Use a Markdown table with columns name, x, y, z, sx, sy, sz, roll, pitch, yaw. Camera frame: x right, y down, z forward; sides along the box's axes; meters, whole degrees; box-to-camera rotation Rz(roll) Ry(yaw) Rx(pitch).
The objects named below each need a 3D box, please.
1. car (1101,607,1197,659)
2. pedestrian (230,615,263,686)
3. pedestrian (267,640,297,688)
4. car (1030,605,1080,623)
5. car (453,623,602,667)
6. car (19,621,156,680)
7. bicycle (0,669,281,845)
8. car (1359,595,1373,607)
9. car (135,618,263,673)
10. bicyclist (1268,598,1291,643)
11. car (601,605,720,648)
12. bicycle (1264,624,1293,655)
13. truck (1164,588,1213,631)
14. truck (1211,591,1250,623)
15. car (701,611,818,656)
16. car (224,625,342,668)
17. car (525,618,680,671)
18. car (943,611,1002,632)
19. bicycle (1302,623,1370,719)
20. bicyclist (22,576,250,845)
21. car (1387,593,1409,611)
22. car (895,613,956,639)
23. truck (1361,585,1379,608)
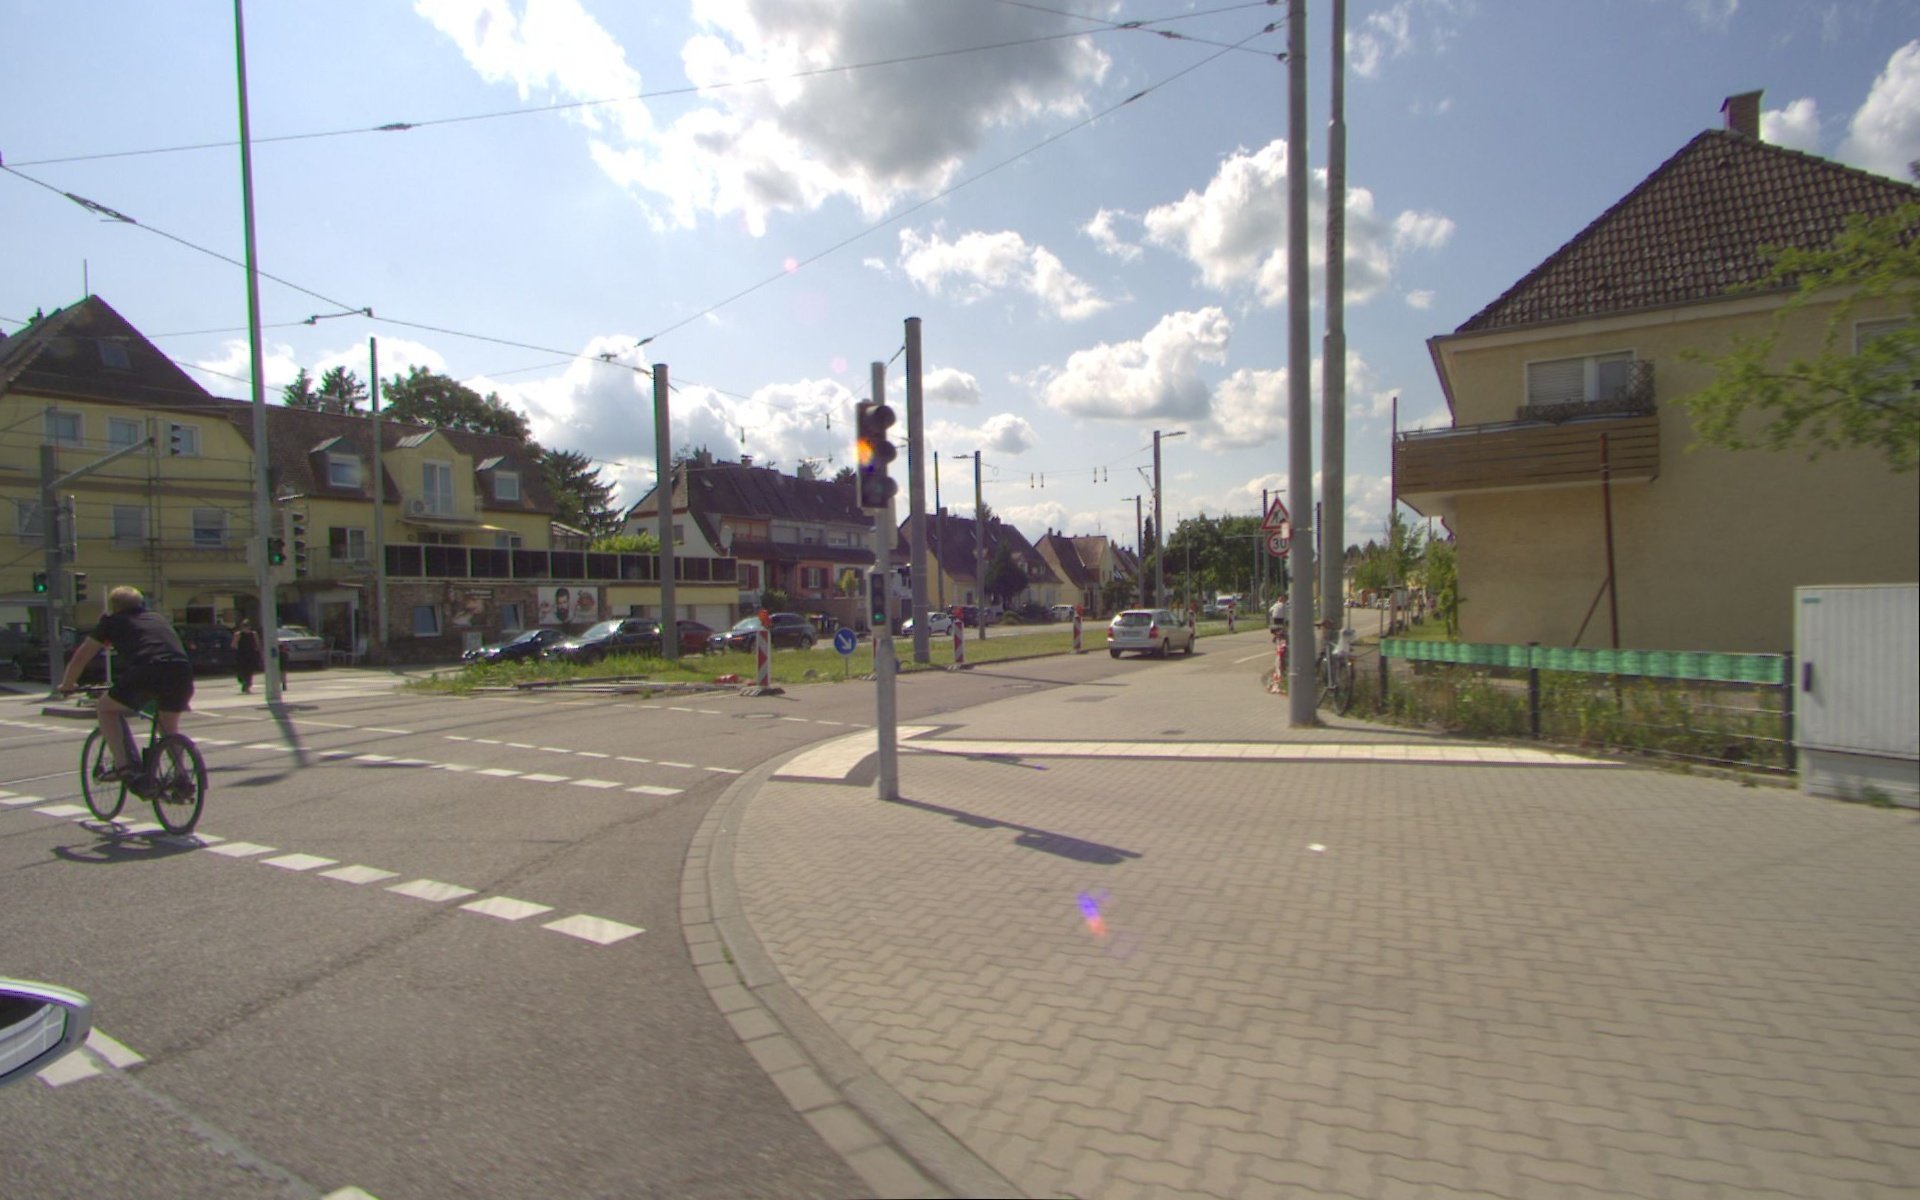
| name | x | y | z | sx | sy | sz | roll | pitch | yaw |
| --- | --- | --- | --- | --- | --- | --- | --- | --- | --- |
| car | 5.755 | 0.955 | 30.156 | 1.709 | 1.422 | 3.999 | -1 | 0 | 28 |
| pedestrian | -17.014 | 1.191 | 23.892 | 0.396 | 1.664 | 0.545 | -2 | -2 | 37 |
| pedestrian | -16.547 | 1.563 | 24.434 | 0.383 | 1.150 | 0.487 | -2 | -2 | 33 |
| car | 8.781 | 1.304 | 92.654 | 4.259 | 1.492 | 1.948 | -2 | -2 | 24 |
| car | -13.926 | 1.442 | 32.511 | 1.714 | 1.325 | 4.312 | -2 | -2 | 29 |
| car | -25.432 | 1.473 | 29.172 | 4.074 | 1.616 | 1.990 | -3 | -2 | 33 |
| bicycle | -6.085 | 1.090 | 7.395 | 1.938 | 1.090 | 0.828 | -1 | 1 | 23 |
| car | 66.860 | 0.195 | 164.812 | 1.967 | 1.746 | 3.990 | -2 | -2 | 23 |
| car | -24.072 | 1.456 | 31.646 | 4.074 | 1.616 | 1.990 | -3 | -2 | 33 |
| bicyclist | 9.122 | 0.575 | 28.558 | 0.501 | 1.250 | 0.576 | -2 | 0 | 28 |
| car | -11.150 | 1.018 | 37.609 | 1.714 | 1.492 | 4.312 | -2 | -2 | 29 |
| bicycle | 9.035 | 1.108 | 28.362 | 0.497 | 0.791 | 1.578 | -2 | 0 | 27 |
| truck | 21.988 | 0.973 | 96.201 | 2.473 | 3.874 | 7.611 | -2 | -2 | 29 |
| truck | 32.231 | 0.942 | 119.055 | 2.345 | 3.582 | 8.497 | -2 | -2 | 29 |
| car | -7.137 | 1.176 | 35.998 | 1.714 | 1.346 | 4.309 | -2 | 0 | 29 |
| car | -22.872 | 1.587 | 33.785 | 4.074 | 1.368 | 1.864 | -3 | -2 | 33 |
| car | -10.659 | 1.304 | 30.206 | 1.714 | 1.346 | 4.309 | -2 | 0 | 29 |
| car | 0.951 | 1.707 | 77.286 | 4.260 | 1.492 | 1.734 | -2 | -2 | 25 |
| bicycle | 4.820 | 0.887 | 12.900 | 0.374 | 1.152 | 1.575 | -1 | -2 | 5 |
| bicyclist | -6.033 | 0.753 | 7.360 | 1.066 | 1.818 | 0.828 | -1 | 2 | 23 |
| car | 47.044 | 0.220 | 107.539 | 1.968 | 1.746 | 3.988 | -2 | -2 | 25 |
| car | -2.077 | 1.584 | 61.460 | 1.714 | 1.492 | 4.312 | -2 | -2 | 29 |
| truck | 64.347 | -0.501 | 157.218 | 1.964 | 3.267 | 5.330 | -2 | -2 | 17 |
